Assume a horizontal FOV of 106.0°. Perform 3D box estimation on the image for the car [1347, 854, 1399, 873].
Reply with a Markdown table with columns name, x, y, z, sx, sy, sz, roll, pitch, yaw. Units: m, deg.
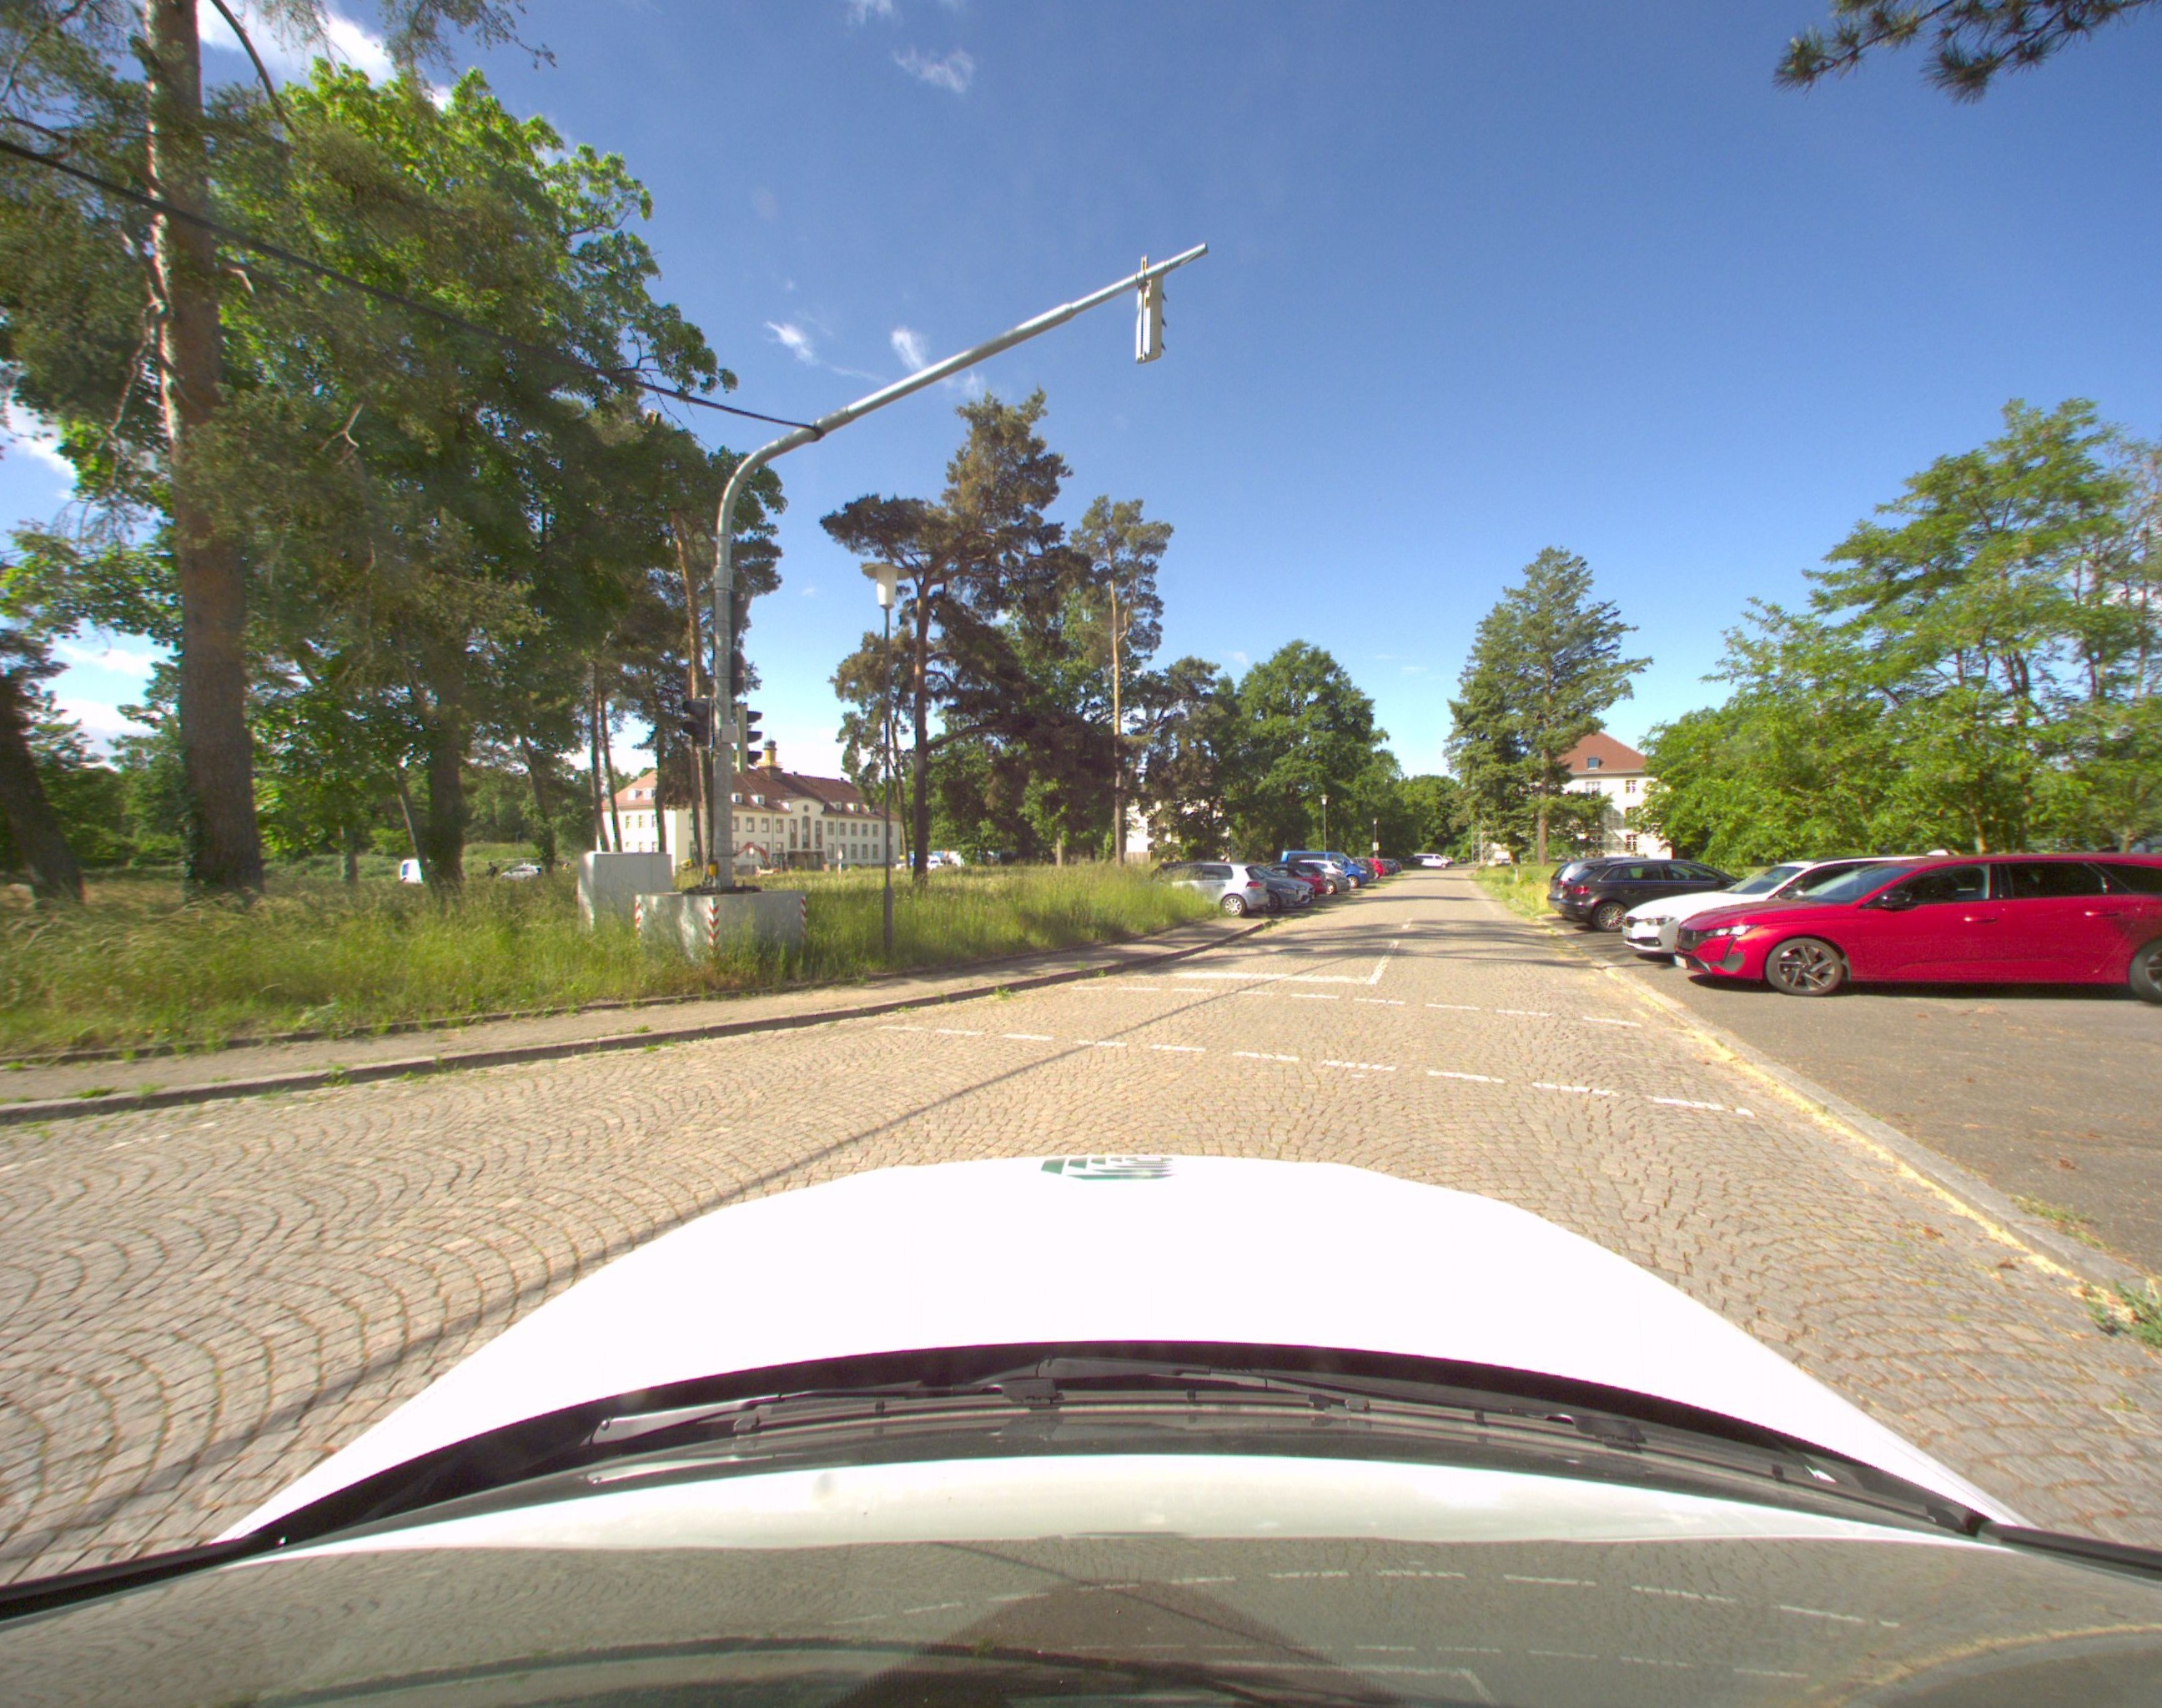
| name | x | y | z | sx | sy | sz | roll | pitch | yaw |
| --- | --- | --- | --- | --- | --- | --- | --- | --- | --- |
| car | 25.544 | 0.805 | 71.246 | 4.098 | 1.579 | 1.895 | 0 | 0 | 24 |

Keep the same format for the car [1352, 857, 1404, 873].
| name | x | y | z | sx | sy | sz | roll | pitch | yaw |
| --- | --- | --- | --- | --- | --- | --- | --- | --- | --- |
| car | 27.533 | 0.991 | 75.516 | 4.319 | 1.445 | 1.932 | 0 | 0 | 27 |

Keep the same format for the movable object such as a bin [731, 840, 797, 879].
| name | x | y | z | sx | sy | sz | roll | pitch | yaw |
| --- | --- | --- | --- | --- | --- | --- | --- | --- | --- |
| movable object such as a bin | -31.865 | 0.555 | 82.235 | 3.905 | 3.731 | 6.791 | -1 | -1 | 1 |

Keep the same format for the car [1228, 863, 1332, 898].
| name | x | y | z | sx | sy | sz | roll | pitch | yaw |
| --- | --- | --- | --- | --- | --- | --- | --- | --- | --- |
| car | 7.705 | 1.006 | 31.544 | 3.597 | 1.234 | 1.770 | 1 | -1 | 25 |

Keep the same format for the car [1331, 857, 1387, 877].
| name | x | y | z | sx | sy | sz | roll | pitch | yaw |
| --- | --- | --- | --- | --- | --- | --- | --- | --- | --- |
| car | 21.146 | 0.972 | 61.889 | 3.889 | 1.461 | 1.852 | 1 | 1 | 23 |

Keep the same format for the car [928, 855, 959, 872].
| name | x | y | z | sx | sy | sz | roll | pitch | yaw |
| --- | --- | --- | --- | --- | --- | --- | --- | --- | --- |
| car | -20.563 | 1.420 | 121.900 | 1.966 | 2.437 | 5.307 | -1 | -1 | 25 |

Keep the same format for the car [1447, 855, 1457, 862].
| name | x | y | z | sx | sy | sz | roll | pitch | yaw |
| --- | --- | --- | --- | --- | --- | --- | --- | --- | --- |
| car | 81.104 | 1.000 | 178.107 | 1.796 | 1.579 | 4.158 | -1 | -1 | 24 |

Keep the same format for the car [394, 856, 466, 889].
| name | x | y | z | sx | sy | sz | roll | pitch | yaw |
| --- | --- | --- | --- | --- | --- | --- | --- | --- | --- |
| car | -44.738 | 1.293 | 55.952 | 4.801 | 2.164 | 1.968 | -1 | -1 | 25 |

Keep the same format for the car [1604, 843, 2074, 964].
| name | x | y | z | sx | sy | sz | roll | pitch | yaw |
| --- | --- | --- | --- | --- | --- | --- | --- | --- | --- |
| car | 10.287 | 0.718 | 11.574 | 4.473 | 1.465 | 1.848 | -3 | -2 | 21 |

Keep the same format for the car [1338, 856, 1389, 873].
| name | x | y | z | sx | sy | sz | roll | pitch | yaw |
| --- | --- | --- | --- | --- | --- | --- | --- | --- | --- |
| car | 24.023 | 0.876 | 69.288 | 3.887 | 1.433 | 1.853 | 0 | 0 | 25 |

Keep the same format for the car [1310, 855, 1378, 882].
| name | x | y | z | sx | sy | sz | roll | pitch | yaw |
| --- | --- | --- | --- | --- | --- | --- | --- | --- | --- |
| car | 16.928 | 0.913 | 52.394 | 3.919 | 1.567 | 1.985 | 1 | 1 | 23 |

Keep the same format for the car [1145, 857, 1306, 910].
| name | x | y | z | sx | sy | sz | roll | pitch | yaw |
| --- | --- | --- | --- | --- | --- | --- | --- | --- | --- |
| car | 4.427 | 0.858 | 24.888 | 4.542 | 1.452 | 1.994 | 1 | 0 | 21 |

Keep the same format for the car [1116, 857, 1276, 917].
| name | x | y | z | sx | sy | sz | roll | pitch | yaw |
| --- | --- | --- | --- | --- | --- | --- | --- | --- | --- |
| car | 3.196 | 0.854 | 22.553 | 3.991 | 1.483 | 1.959 | 1 | 1 | 22 |

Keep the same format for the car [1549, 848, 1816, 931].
| name | x | y | z | sx | sy | sz | roll | pitch | yaw |
| --- | --- | --- | --- | --- | --- | --- | --- | --- | --- |
| car | 11.982 | 0.714 | 16.581 | 3.969 | 1.441 | 1.854 | -4 | -1 | 22 |

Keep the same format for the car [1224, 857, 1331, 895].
| name | x | y | z | sx | sy | sz | roll | pitch | yaw |
| --- | --- | --- | --- | --- | --- | --- | --- | --- | --- |
| car | 8.260 | 0.888 | 34.239 | 4.040 | 1.452 | 1.832 | 1 | -1 | 25 |

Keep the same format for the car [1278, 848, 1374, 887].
| name | x | y | z | sx | sy | sz | roll | pitch | yaw |
| --- | --- | --- | --- | --- | --- | --- | --- | --- | --- |
| car | 13.283 | 0.683 | 44.155 | 4.675 | 1.968 | 2.017 | 1 | 0 | 24 |

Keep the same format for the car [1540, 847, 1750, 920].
| name | x | y | z | sx | sy | sz | roll | pitch | yaw |
| --- | --- | --- | --- | --- | --- | --- | --- | --- | --- |
| car | 13.045 | 0.696 | 19.129 | 3.707 | 1.476 | 1.761 | -4 | -2 | 22 |

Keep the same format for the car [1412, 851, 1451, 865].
| name | x | y | z | sx | sy | sz | roll | pitch | yaw |
| --- | --- | --- | --- | --- | --- | --- | --- | --- | --- |
| car | 51.148 | 0.605 | 118.741 | 5.187 | 2.016 | 1.961 | 0 | -1 | 24 |

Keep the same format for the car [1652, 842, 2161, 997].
| name | x | y | z | sx | sy | sz | roll | pitch | yaw |
| --- | --- | --- | --- | --- | --- | --- | --- | --- | --- |
| car | 9.228 | 0.685 | 8.949 | 4.496 | 1.421 | 1.905 | -3 | -2 | 23 |

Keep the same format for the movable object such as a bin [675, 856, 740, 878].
| name | x | y | z | sx | sy | sz | roll | pitch | yaw |
| --- | --- | --- | --- | --- | --- | --- | --- | --- | --- |
| movable object such as a bin | -37.575 | 1.273 | 82.104 | 5.680 | 2.125 | 2.511 | -1 | -1 | -20 |

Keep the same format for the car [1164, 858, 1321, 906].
| name | x | y | z | sx | sy | sz | roll | pitch | yaw |
| --- | --- | --- | --- | --- | --- | --- | --- | --- | --- |
| car | 5.429 | 0.891 | 27.436 | 4.821 | 1.421 | 1.949 | 1 | -1 | 25 |

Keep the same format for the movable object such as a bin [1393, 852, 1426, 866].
| name | x | y | z | sx | sy | sz | roll | pitch | yaw |
| --- | --- | --- | --- | --- | --- | --- | --- | --- | --- |
| movable object such as a bin | 43.520 | 0.705 | 107.785 | 3.532 | 1.745 | 2.037 | -1 | -1 | 43 |

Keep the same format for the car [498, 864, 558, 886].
| name | x | y | z | sx | sy | sz | roll | pitch | yaw |
| --- | --- | --- | --- | --- | --- | --- | --- | --- | --- |
| car | -42.173 | 1.601 | 62.138 | 4.190 | 1.605 | 1.923 | -1 | -1 | 25 |

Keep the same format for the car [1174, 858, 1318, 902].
| name | x | y | z | sx | sy | sz | roll | pitch | yaw |
| --- | --- | --- | --- | --- | --- | --- | --- | --- | --- |
| car | 6.007 | 0.896 | 29.760 | 4.821 | 1.421 | 1.949 | 1 | 0 | 25 |

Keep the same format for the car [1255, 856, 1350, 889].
| name | x | y | z | sx | sy | sz | roll | pitch | yaw |
| --- | --- | --- | --- | --- | --- | --- | --- | --- | --- |
| car | 10.746 | 0.855 | 39.482 | 4.158 | 1.475 | 1.834 | 1 | 0 | 24 |

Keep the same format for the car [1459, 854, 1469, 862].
| name | x | y | z | sx | sy | sz | roll | pitch | yaw |
| --- | --- | --- | --- | --- | --- | --- | --- | --- | --- |
| car | 83.400 | 0.914 | 177.404 | 1.953 | 1.668 | 4.109 | -1 | -1 | 24 |

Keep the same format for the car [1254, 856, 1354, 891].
| name | x | y | z | sx | sy | sz | roll | pitch | yaw |
| --- | --- | --- | --- | --- | --- | --- | --- | --- | --- |
| car | 10.039 | 0.857 | 36.622 | 4.040 | 1.425 | 1.934 | 1 | 0 | 25 |
